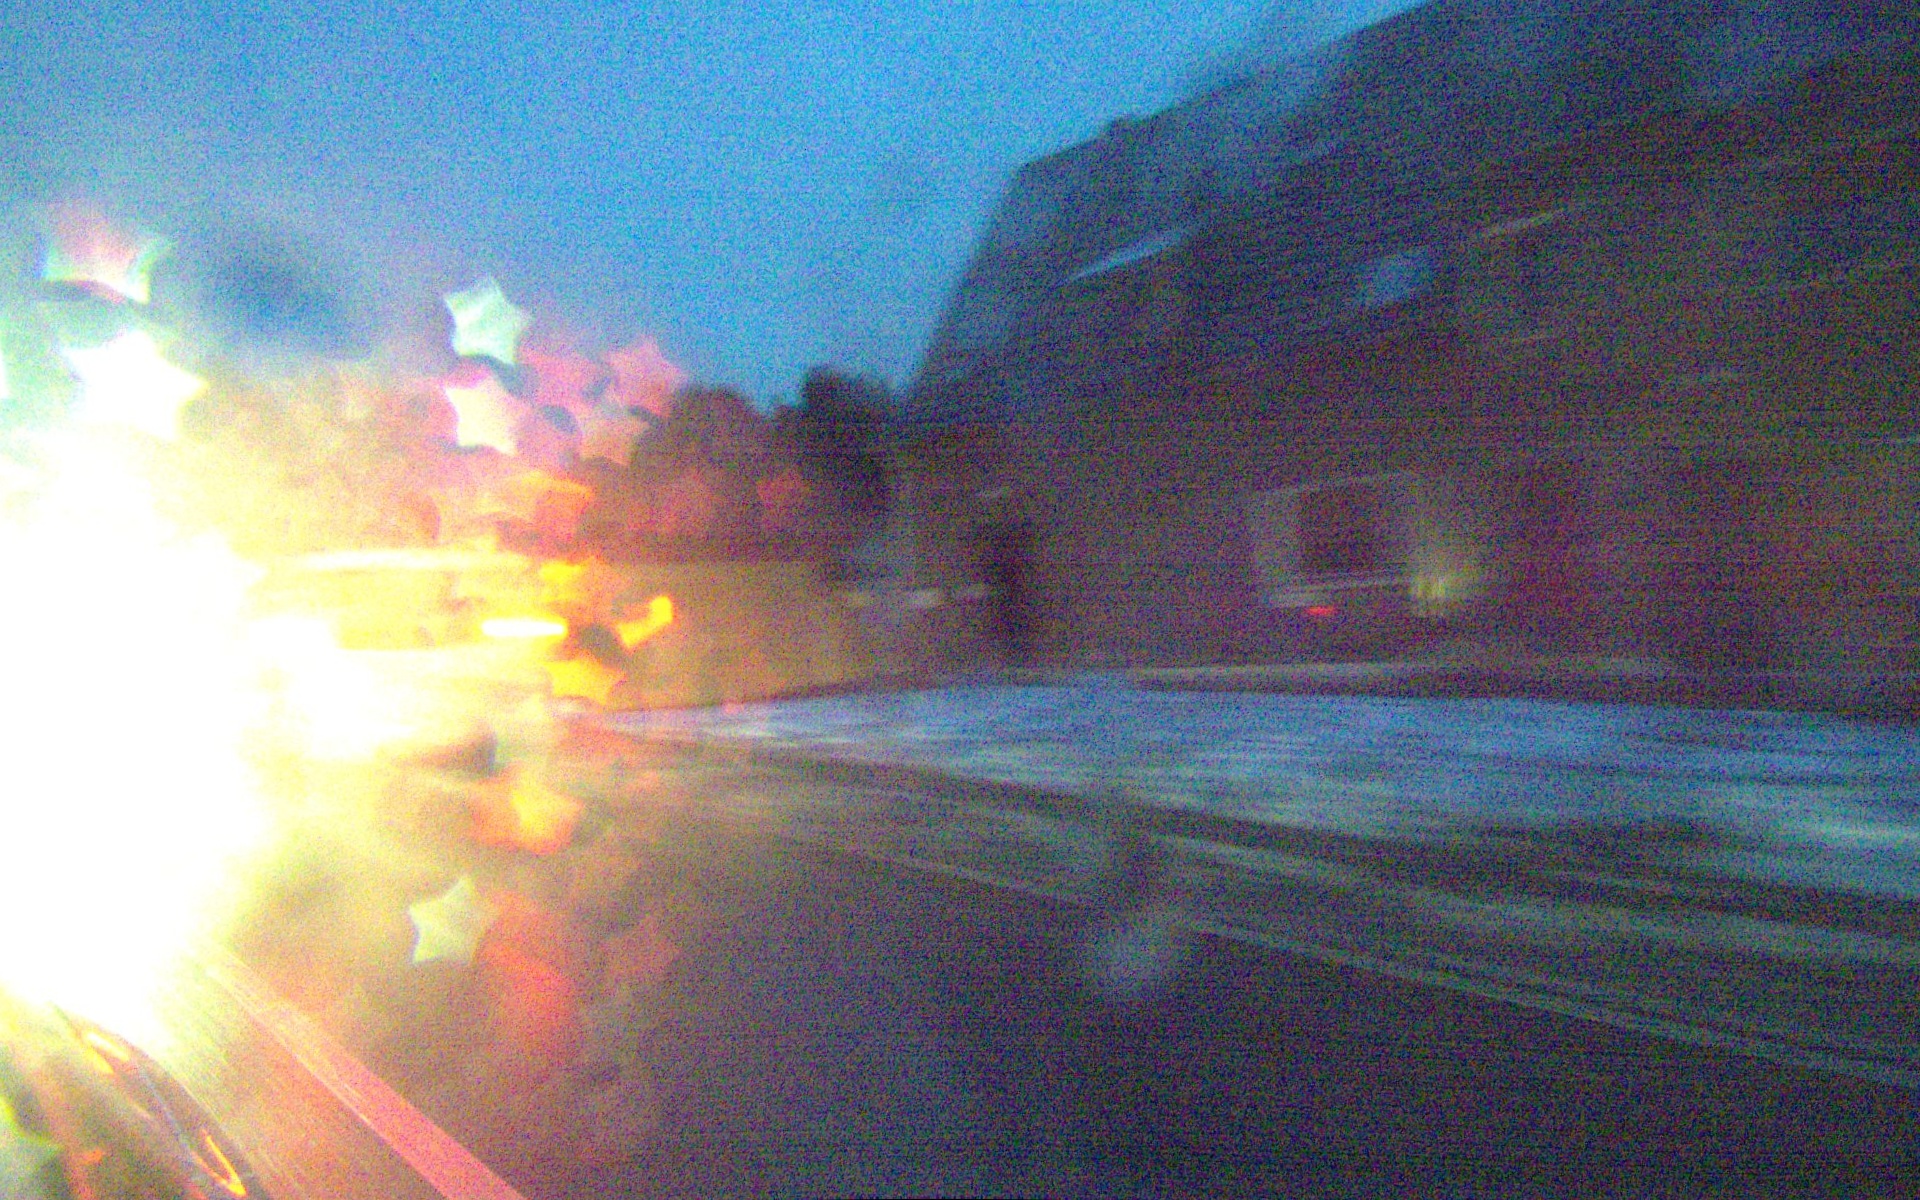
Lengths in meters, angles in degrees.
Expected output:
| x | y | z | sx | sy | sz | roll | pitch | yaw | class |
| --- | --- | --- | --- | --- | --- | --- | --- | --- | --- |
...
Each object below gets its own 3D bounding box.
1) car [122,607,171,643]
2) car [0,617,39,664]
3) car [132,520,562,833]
| x | y | z | sx | sy | sz | roll | pitch | yaw | class |
| --- | --- | --- | --- | --- | --- | --- | --- | --- | --- |
| -44.407 | 1.336 | 55.251 | 1.952 | 1.791 | 4.007 | -4 | 2 | -39 | car |
| -32.296 | 1.358 | 33.759 | 1.968 | 1.430 | 4.008 | -4 | 2 | -38 | car |
| -5.673 | 0.520 | 9.046 | 4.886 | 2.072 | 1.898 | -1 | 0 | 42 | car |
